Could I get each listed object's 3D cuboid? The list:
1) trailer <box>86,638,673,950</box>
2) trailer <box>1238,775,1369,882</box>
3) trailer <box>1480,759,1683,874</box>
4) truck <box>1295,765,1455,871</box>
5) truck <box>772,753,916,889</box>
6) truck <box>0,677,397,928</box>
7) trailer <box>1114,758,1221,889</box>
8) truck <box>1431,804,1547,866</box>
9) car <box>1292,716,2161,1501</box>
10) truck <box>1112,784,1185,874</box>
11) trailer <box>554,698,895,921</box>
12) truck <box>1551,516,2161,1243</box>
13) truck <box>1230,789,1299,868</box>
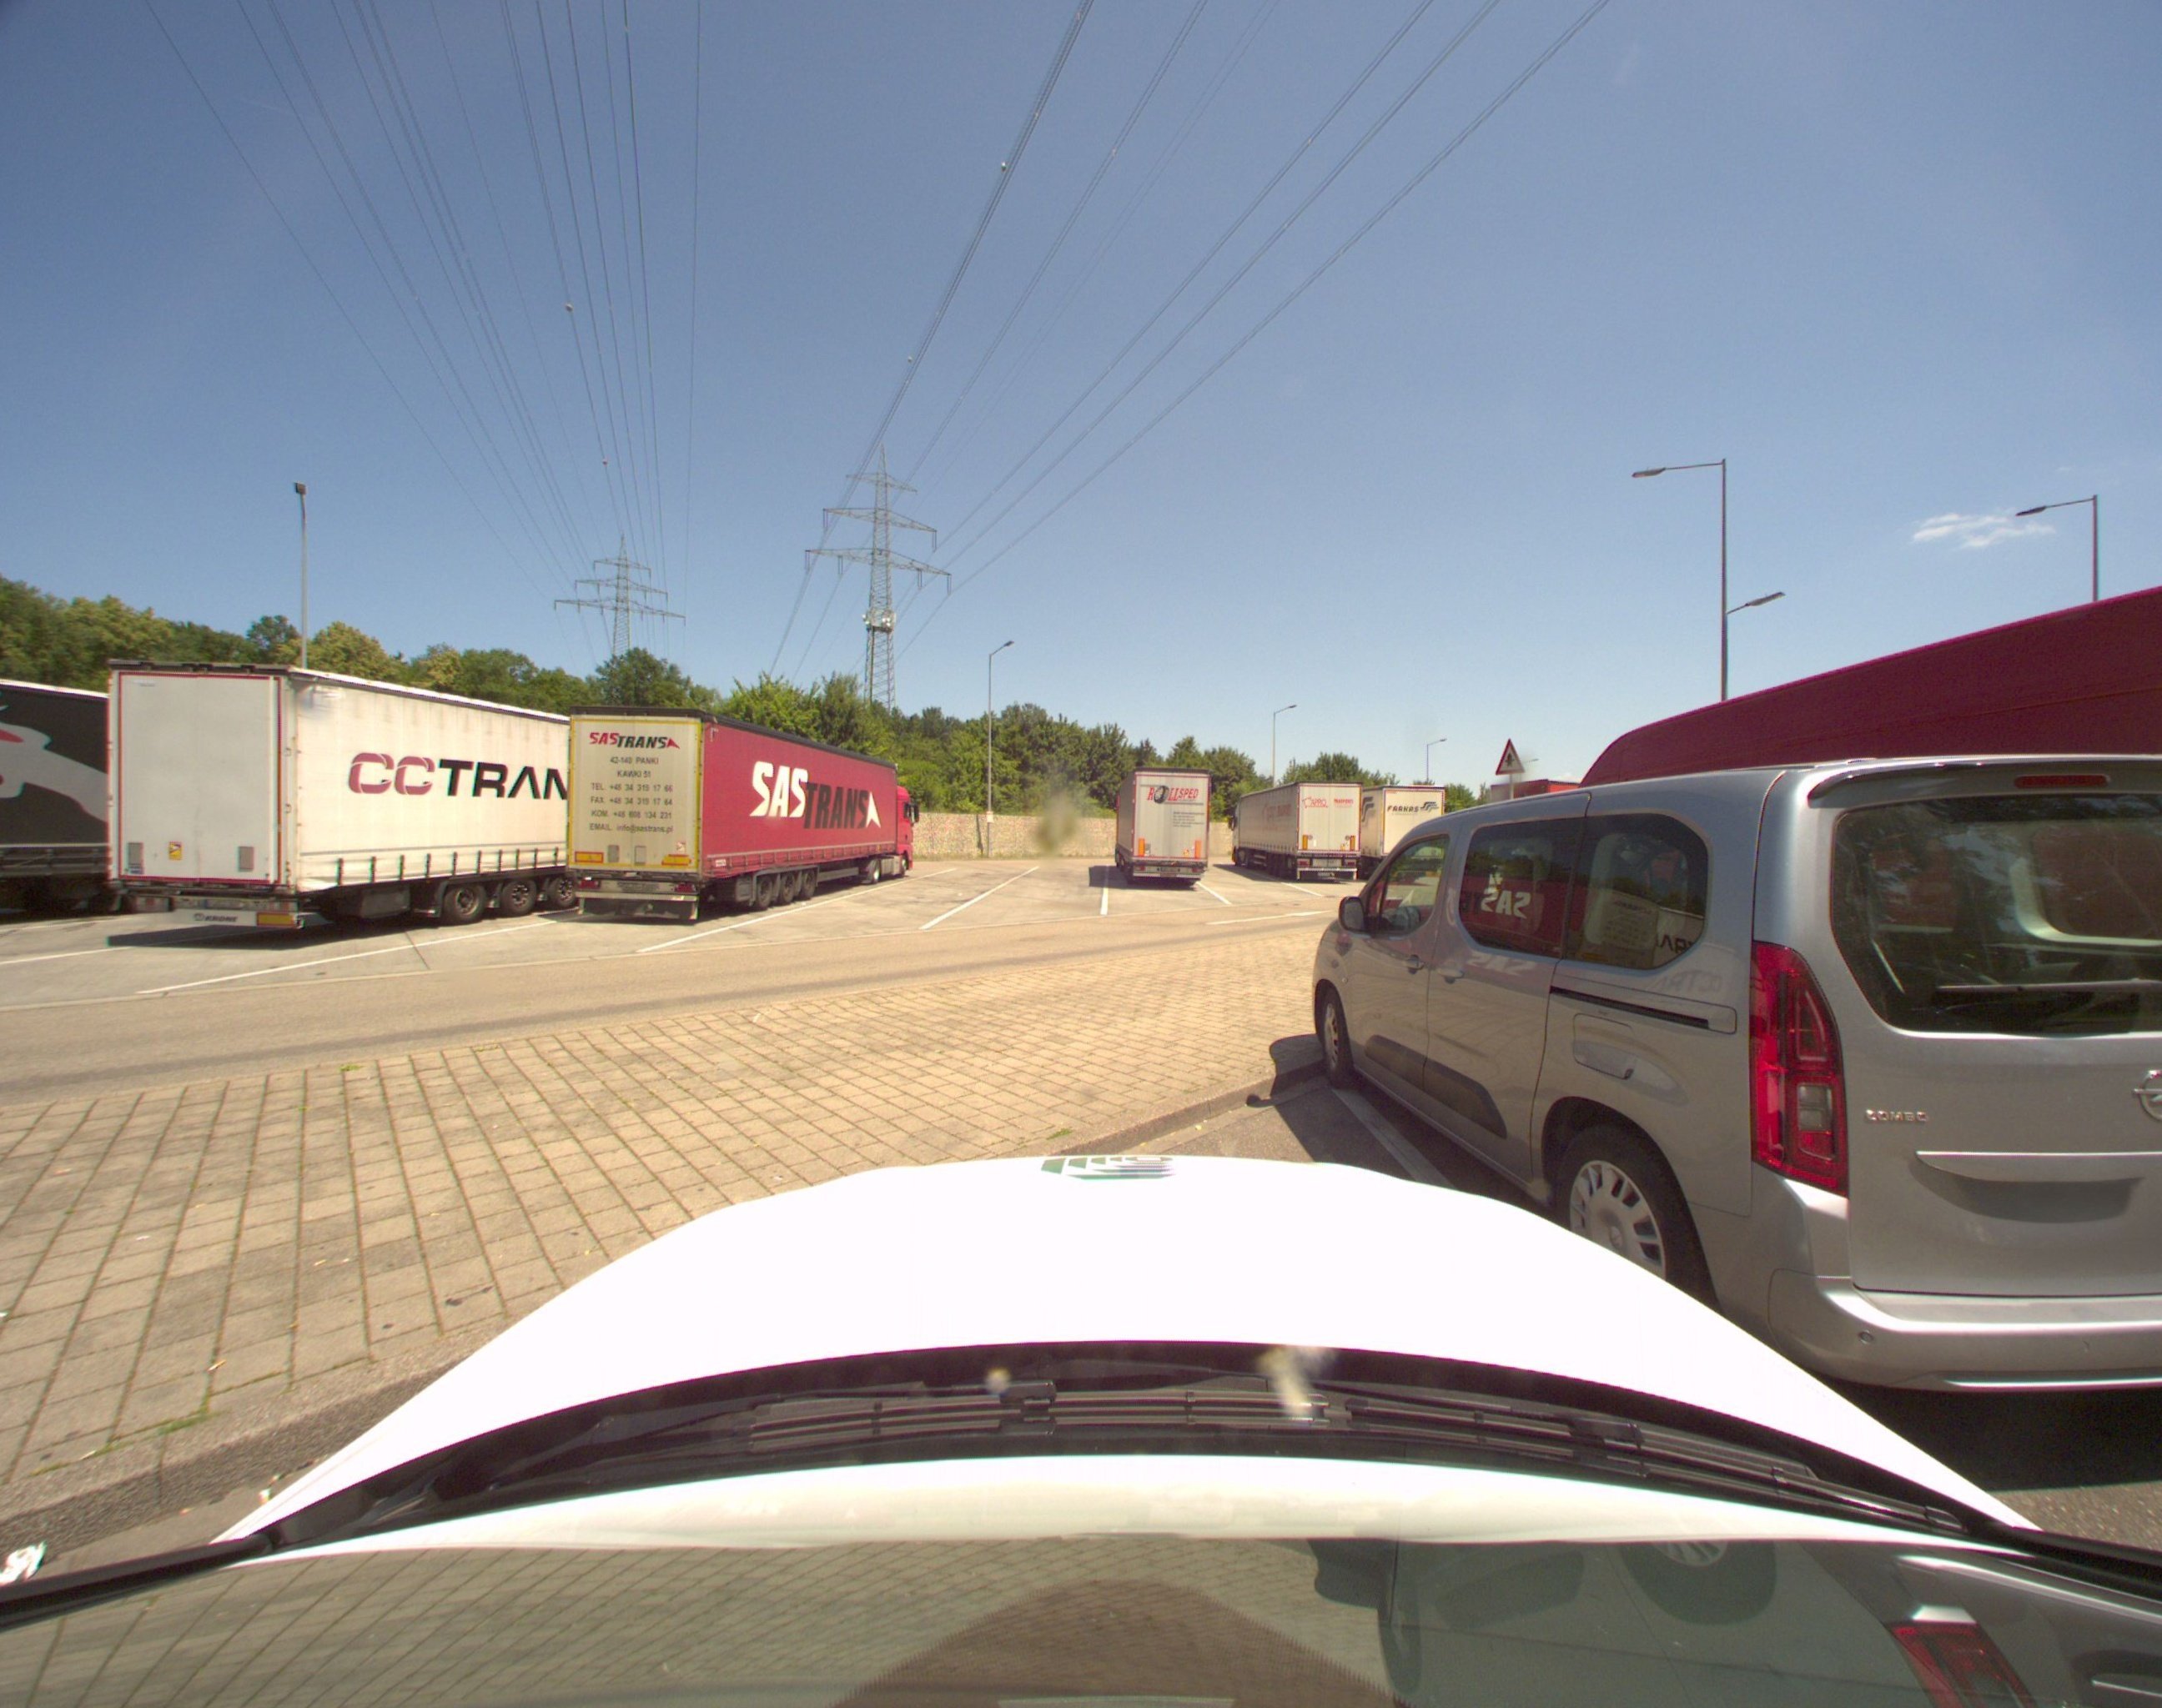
[{"bbox_3d":[-12.097,-0.896,16.074,2.734,4.263,9.740,0,1,3],"label":"trailer"},{"bbox_3d":[9.941,-1.103,38.413,2.865,4.124,13.577,0,1,2],"label":"trailer"},{"bbox_3d":[20.620,-1.472,33.404,8.699,4.257,2.820,-1,1,-25],"label":"trailer"},{"bbox_3d":[13.589,-1.544,39.652,2.894,4.124,14.533,2,1,2],"label":"truck"},{"bbox_3d":[-7.837,-1.052,28.017,2.733,4.081,6.832,-1,1,1],"label":"truck"},{"bbox_3d":[-18.509,-0.857,15.967,2.627,4.018,8.640,-1,1,2],"label":"truck"},{"bbox_3d":[3.047,-1.188,32.741,3.059,4.227,12.811,1,2,1],"label":"trailer"},{"bbox_3d":[24.463,-1.128,49.440,3.013,3.437,8.534,-1,1,2],"label":"truck"},{"bbox_3d":[2.473,0.532,3.854,1.821,1.753,3.998,-1,1,-2],"label":"car"},{"bbox_3d":[3.128,-1.222,39.514,3.016,3.928,6.848,1,2,1],"label":"truck"},{"bbox_3d":[-8.043,-0.919,21.554,2.739,4.057,13.292,-1,1,2],"label":"trailer"},{"bbox_3d":[5.102,0.053,4.876,1.983,2.623,5.312,0,1,6],"label":"truck"},{"bbox_3d":[10.128,-1.394,45.416,2.747,4.124,5.286,-1,1,2],"label":"truck"}]
